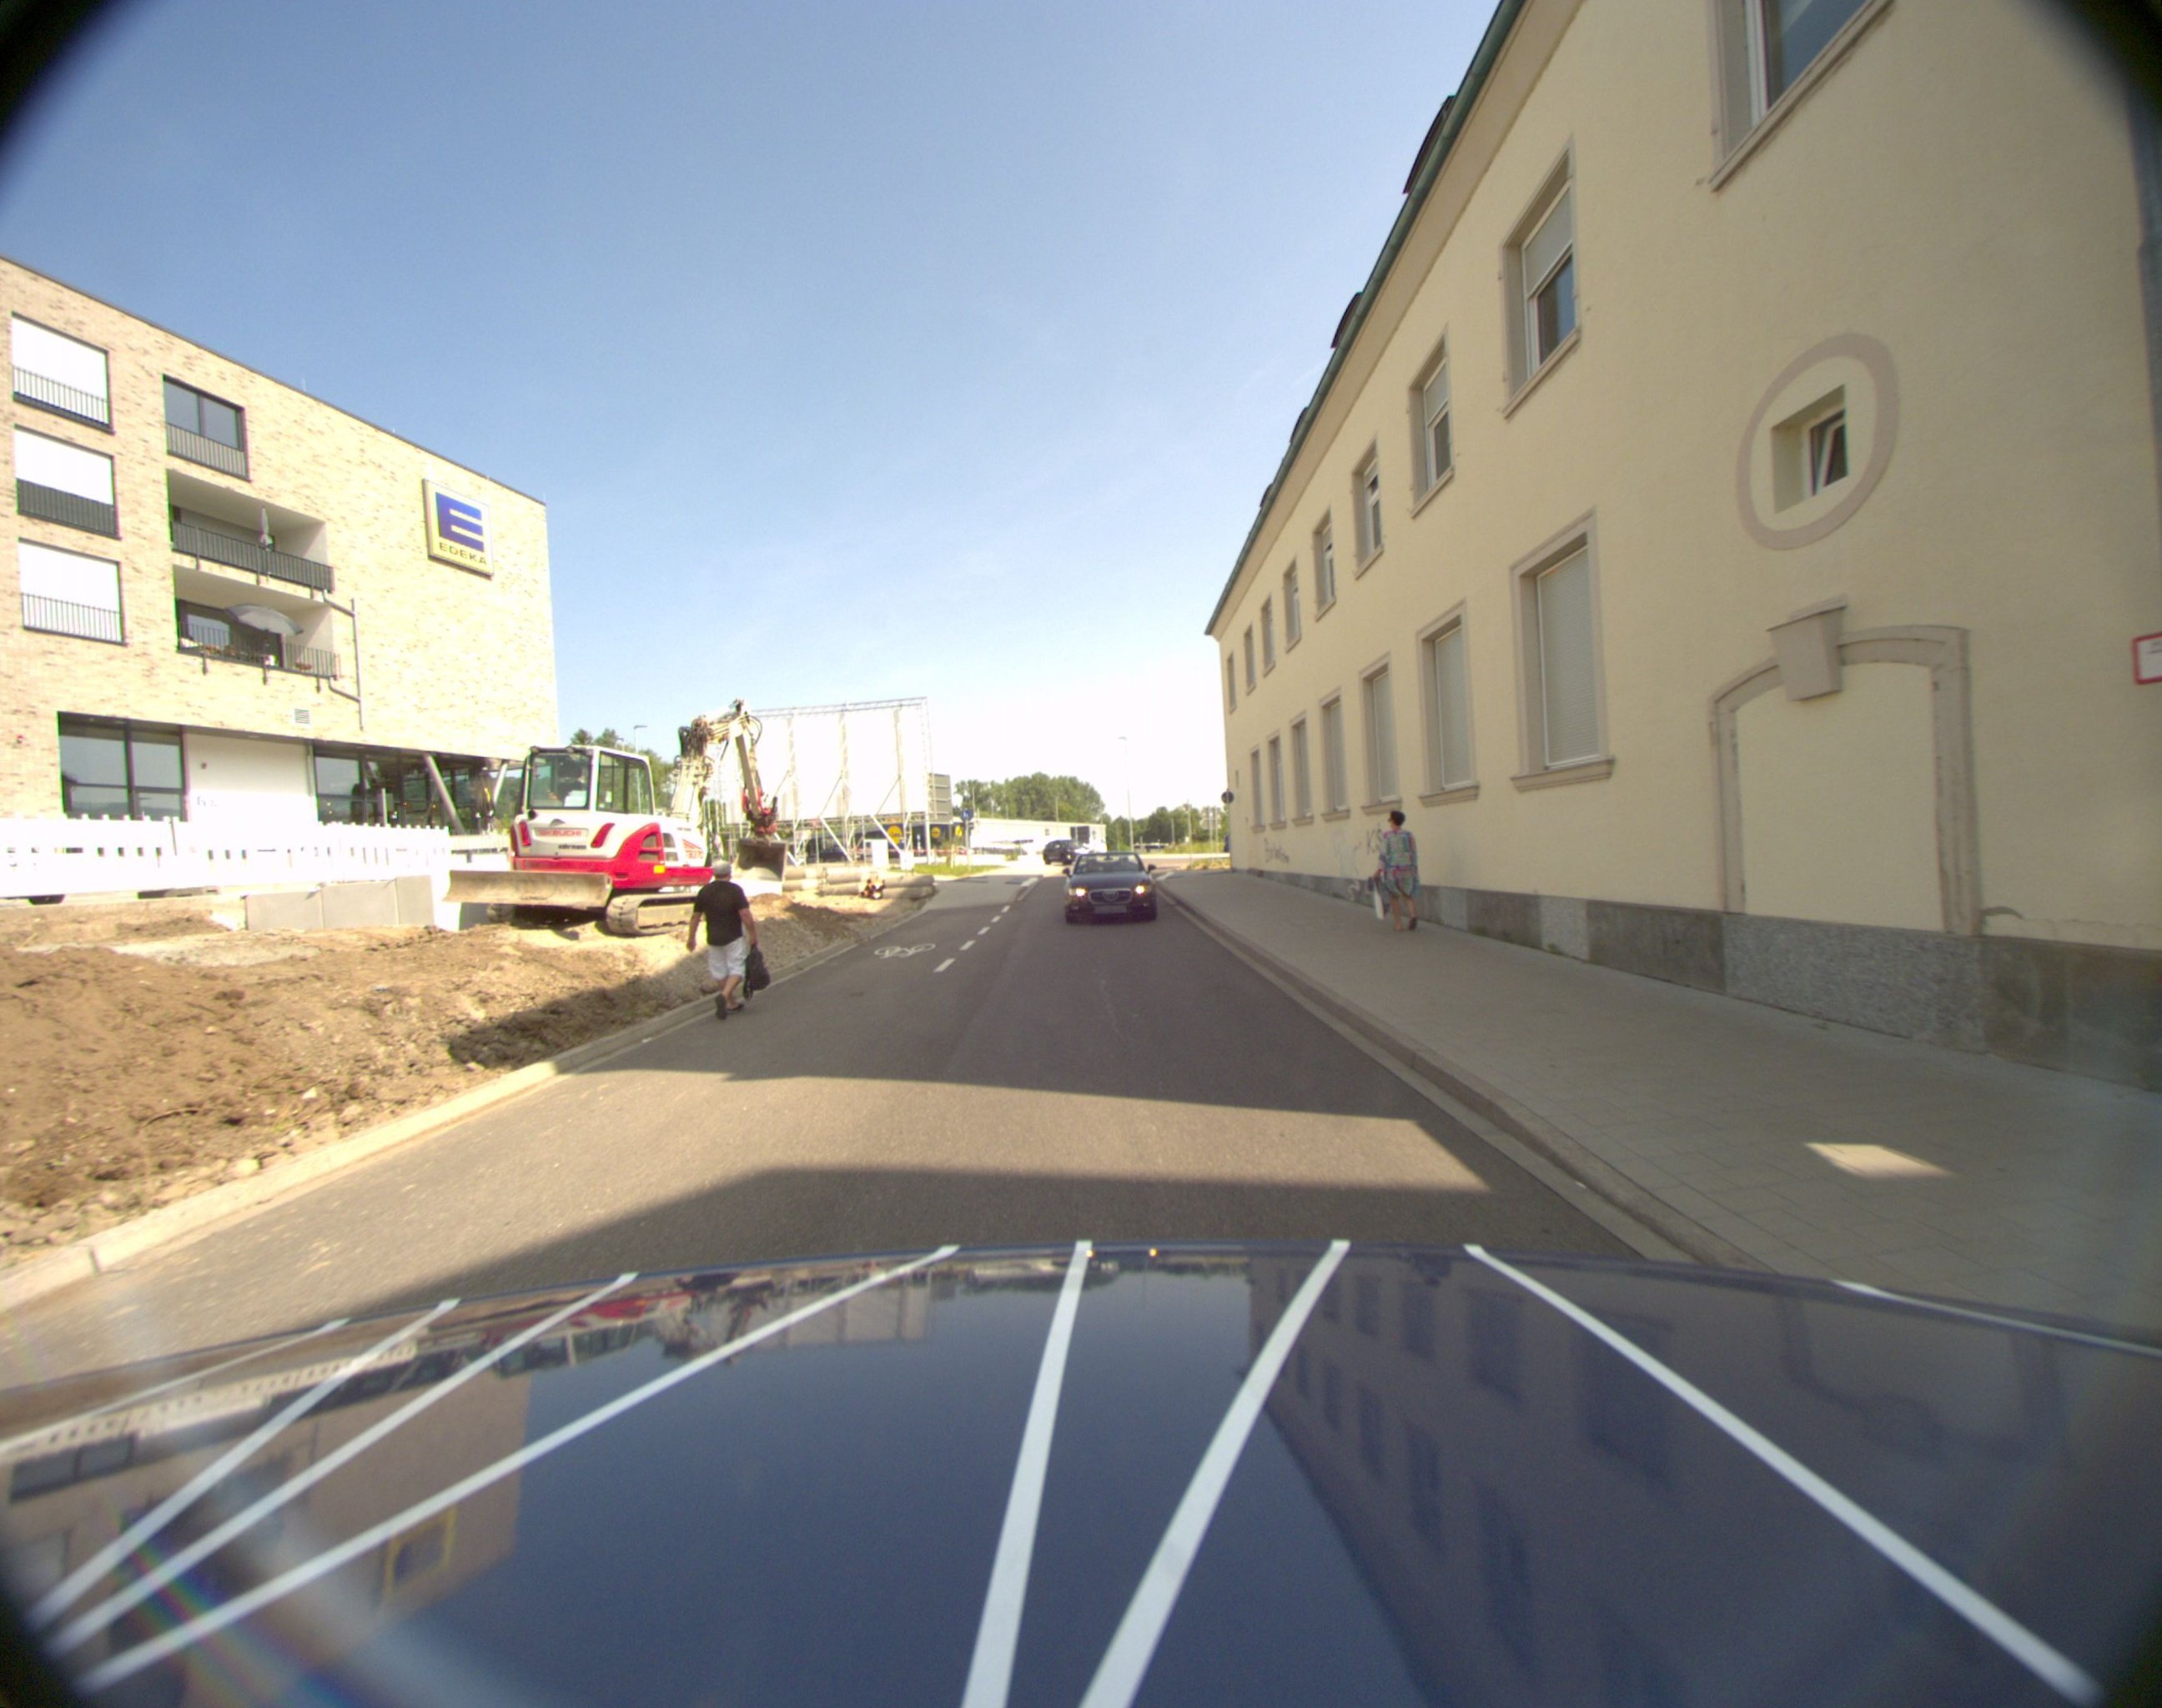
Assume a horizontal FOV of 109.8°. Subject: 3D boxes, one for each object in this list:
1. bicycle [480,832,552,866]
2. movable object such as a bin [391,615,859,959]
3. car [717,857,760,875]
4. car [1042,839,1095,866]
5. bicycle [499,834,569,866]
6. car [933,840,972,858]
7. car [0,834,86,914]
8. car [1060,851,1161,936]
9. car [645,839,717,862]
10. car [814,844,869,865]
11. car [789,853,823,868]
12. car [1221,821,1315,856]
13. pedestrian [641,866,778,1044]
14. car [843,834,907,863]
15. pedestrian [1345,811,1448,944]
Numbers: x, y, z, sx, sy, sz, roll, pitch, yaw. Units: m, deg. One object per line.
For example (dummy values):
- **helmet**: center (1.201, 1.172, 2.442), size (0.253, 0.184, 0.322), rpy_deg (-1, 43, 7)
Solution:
- **bicycle**: center (-22.944, -0.206, 30.895), size (2.242, 1.137, 0.857), rpy_deg (-6, 0, 3)
- **movable object such as a bin**: center (-6.554, -0.829, 12.878), size (2.300, 3.832, 7.800), rpy_deg (-6, 1, 5)
- **car**: center (-35.004, 1.221, 77.779), size (1.760, 1.564, 3.791), rpy_deg (-6, -1, 18)
- **car**: center (-0.789, -0.118, 45.271), size (1.645, 1.385, 4.221), rpy_deg (-5, 3, -22)
- **bicycle**: center (-22.894, -0.157, 31.826), size (2.242, 1.137, 0.857), rpy_deg (-6, 0, 3)
- **car**: center (-14.725, -0.573, 87.004), size (4.018, 1.564, 1.780), rpy_deg (-6, 0, 3)
- **car**: center (-21.718, 0.428, 14.442), size (3.413, 1.487, 1.594), rpy_deg (-2, 2, 0)
- **car**: center (0.603, 0.680, 15.415), size (1.721, 1.315, 4.223), rpy_deg (-2, 2, 3)
- **car**: center (-29.788, -0.237, 56.652), size (4.812, 1.546, 1.861), rpy_deg (-1, -1, 17)
- **car**: center (-22.843, 0.019, 72.457), size (4.850, 1.521, 1.925), rpy_deg (-6, -1, 22)
- **car**: center (-32.379, 0.730, 89.600), size (1.663, 1.564, 3.791), rpy_deg (-6, -1, 18)
- **car**: center (9.764, -0.816, 39.677), size (4.341, 1.654, 1.890), rpy_deg (-1, 3, 31)
- **pedestrian**: center (-3.804, 1.005, 7.856), size (0.890, 1.673, 0.718), rpy_deg (-5, 2, 1)
- **car**: center (-21.174, -0.535, 77.930), size (6.080, 2.369, 2.063), rpy_deg (-6, 0, 20)
- **pedestrian**: center (4.151, 0.297, 10.051), size (0.960, 1.622, 0.758), rpy_deg (-4, 1, 1)
